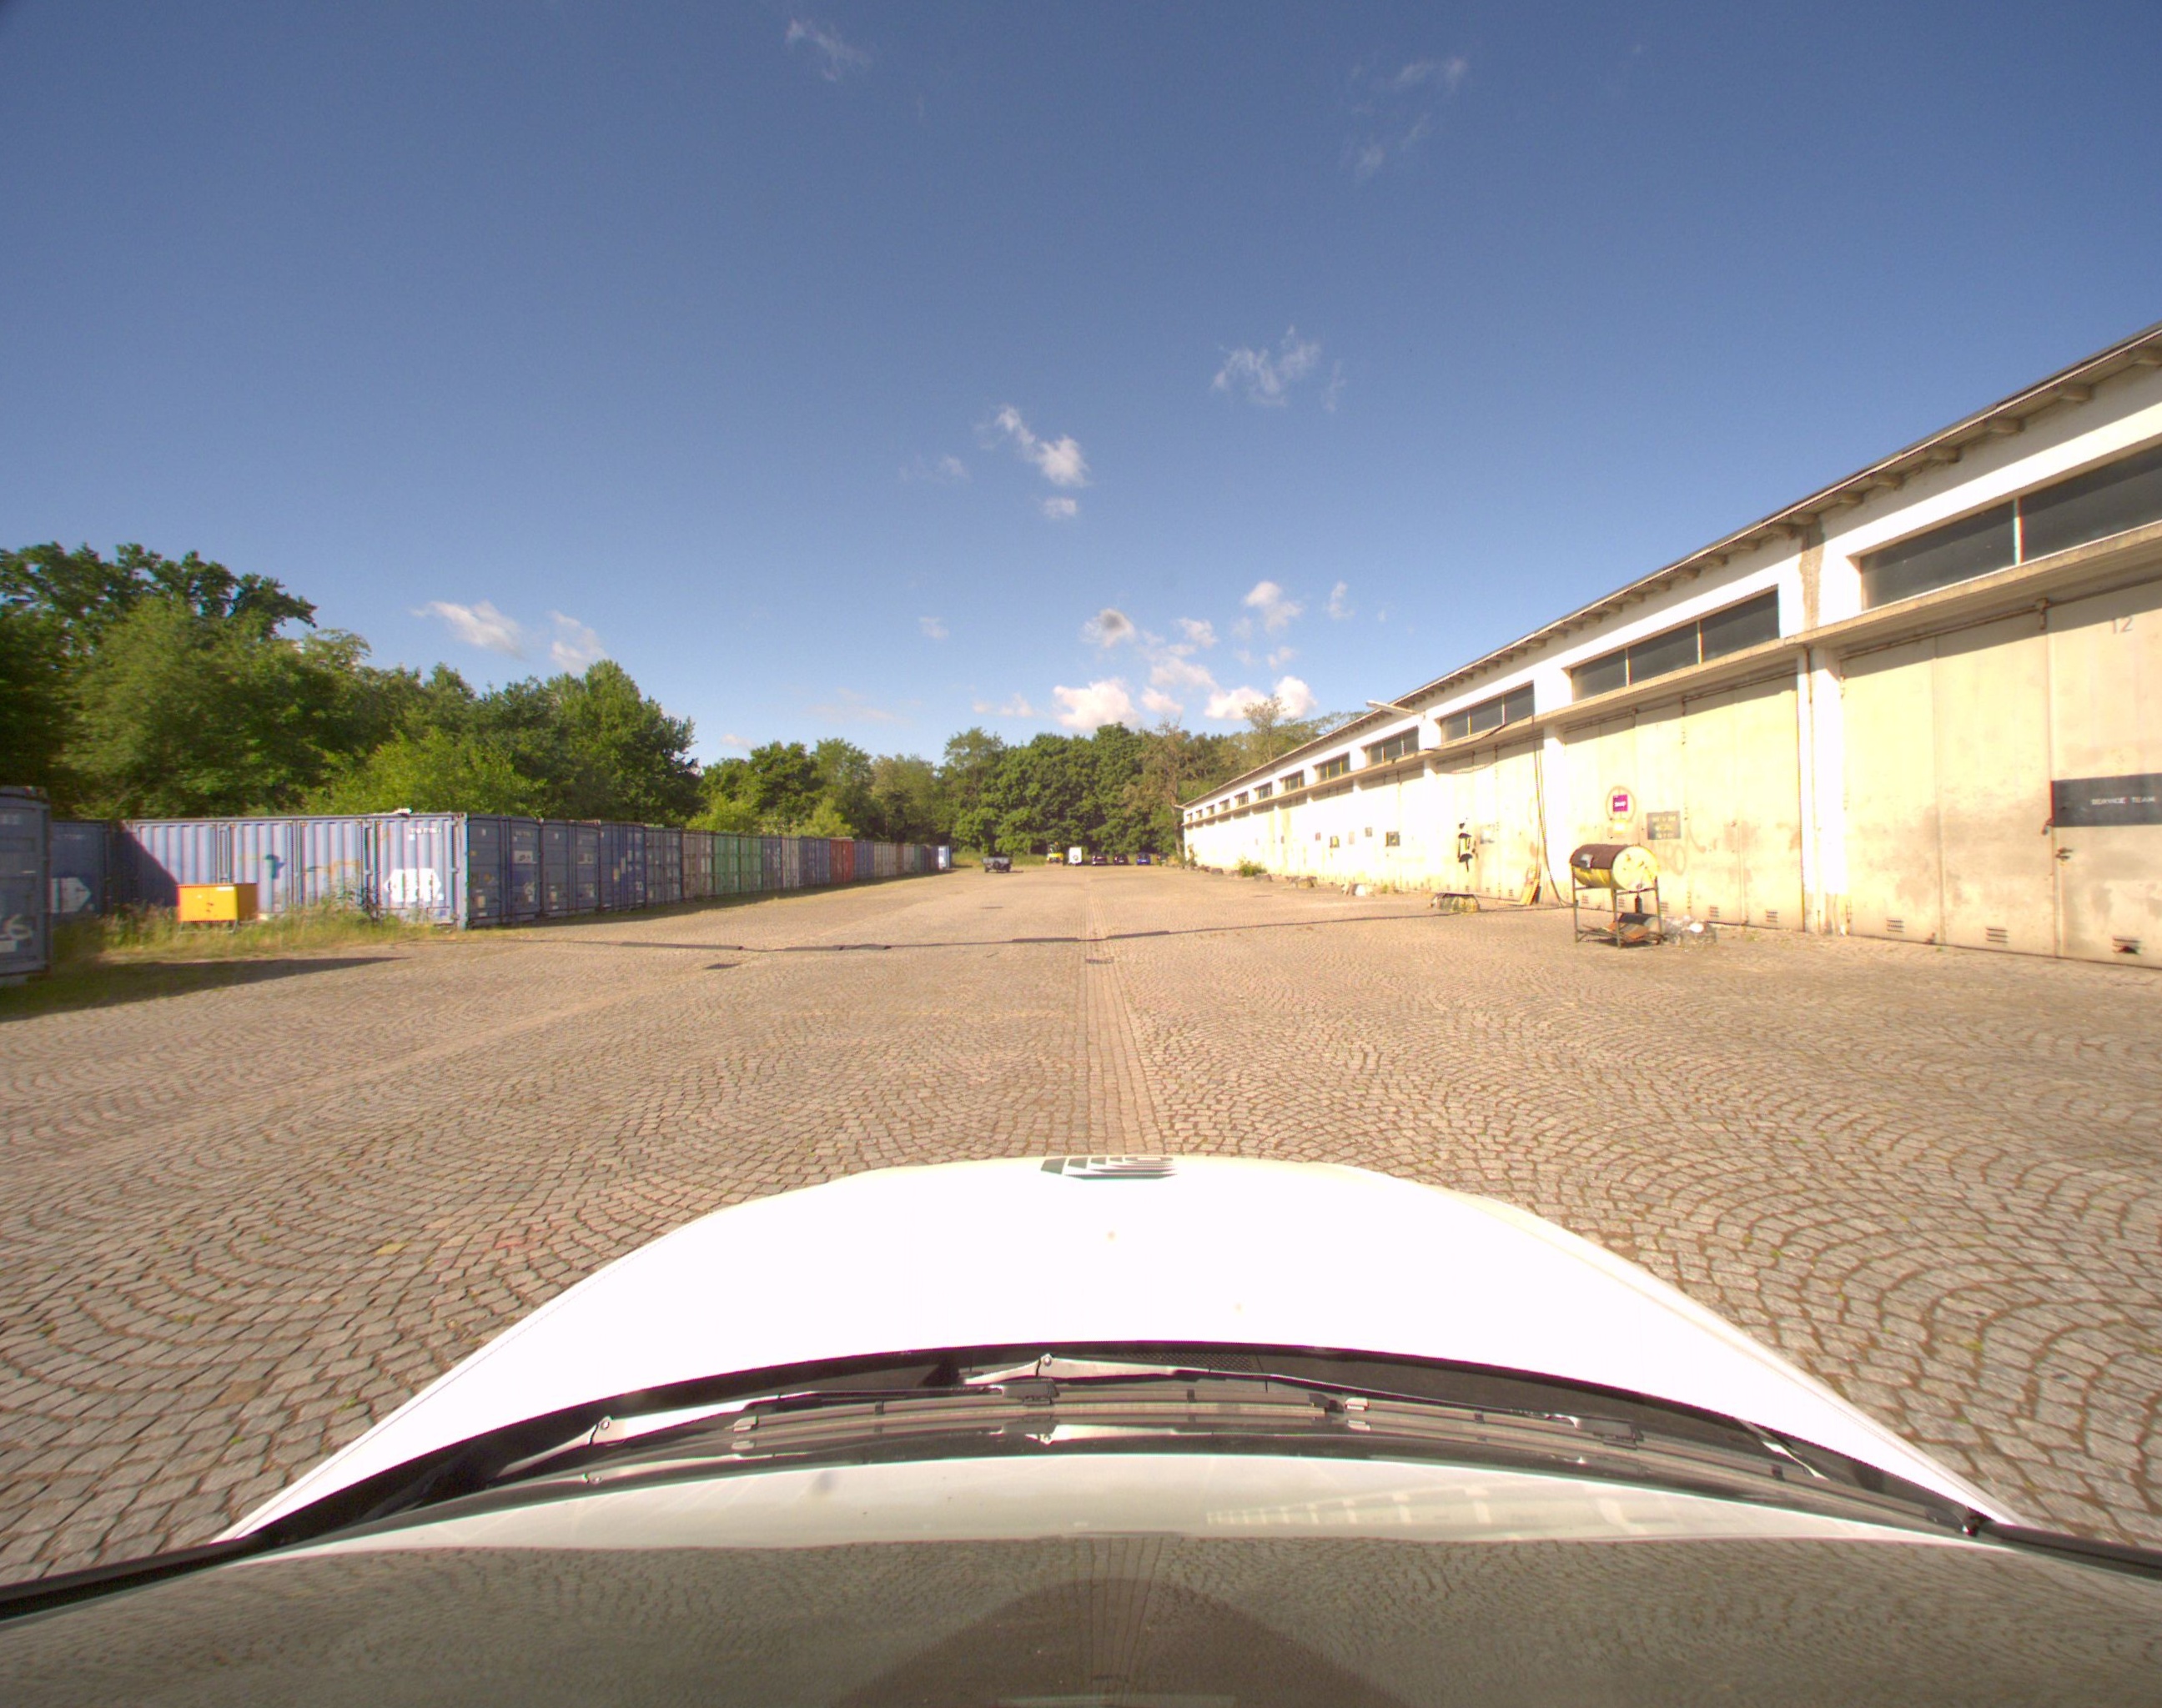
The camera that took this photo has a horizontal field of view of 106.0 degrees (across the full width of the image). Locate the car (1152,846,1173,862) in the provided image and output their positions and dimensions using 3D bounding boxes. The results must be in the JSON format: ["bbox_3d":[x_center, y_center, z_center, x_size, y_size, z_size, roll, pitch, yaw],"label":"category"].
[{"bbox_3d":[9.498,0.008,95.507,1.987,1.772,3.999,-2,0,0],"label":"car"}]

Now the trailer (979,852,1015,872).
[{"bbox_3d":[-7.789,0.728,76.402,2.783,1.646,5.618,-2,0,-1],"label":"trailer"}]

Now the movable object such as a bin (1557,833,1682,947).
[{"bbox_3d":[7.036,0.450,10.702,0.872,1.401,1.101,-2,0,-1],"label":"movable object such as a bin"}]

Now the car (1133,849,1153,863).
[{"bbox_3d":[7.145,0.203,94.238,1.987,1.466,3.999,-2,0,0],"label":"car"}]

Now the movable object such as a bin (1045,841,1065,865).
[{"bbox_3d":[-3.088,-0.101,95.762,2.226,2.657,3.996,-2,0,-2],"label":"movable object such as a bin"}]

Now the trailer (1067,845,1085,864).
[{"bbox_3d":[-0.628,0.029,95.030,1.987,2.162,4.430,-2,0,0],"label":"trailer"}]

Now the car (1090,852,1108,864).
[{"bbox_3d":[2.044,0.425,93.823,1.987,1.258,3.999,-2,0,0],"label":"car"}]

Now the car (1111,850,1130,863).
[{"bbox_3d":[4.563,0.322,94.222,1.987,1.424,3.999,-2,0,0],"label":"car"}]
